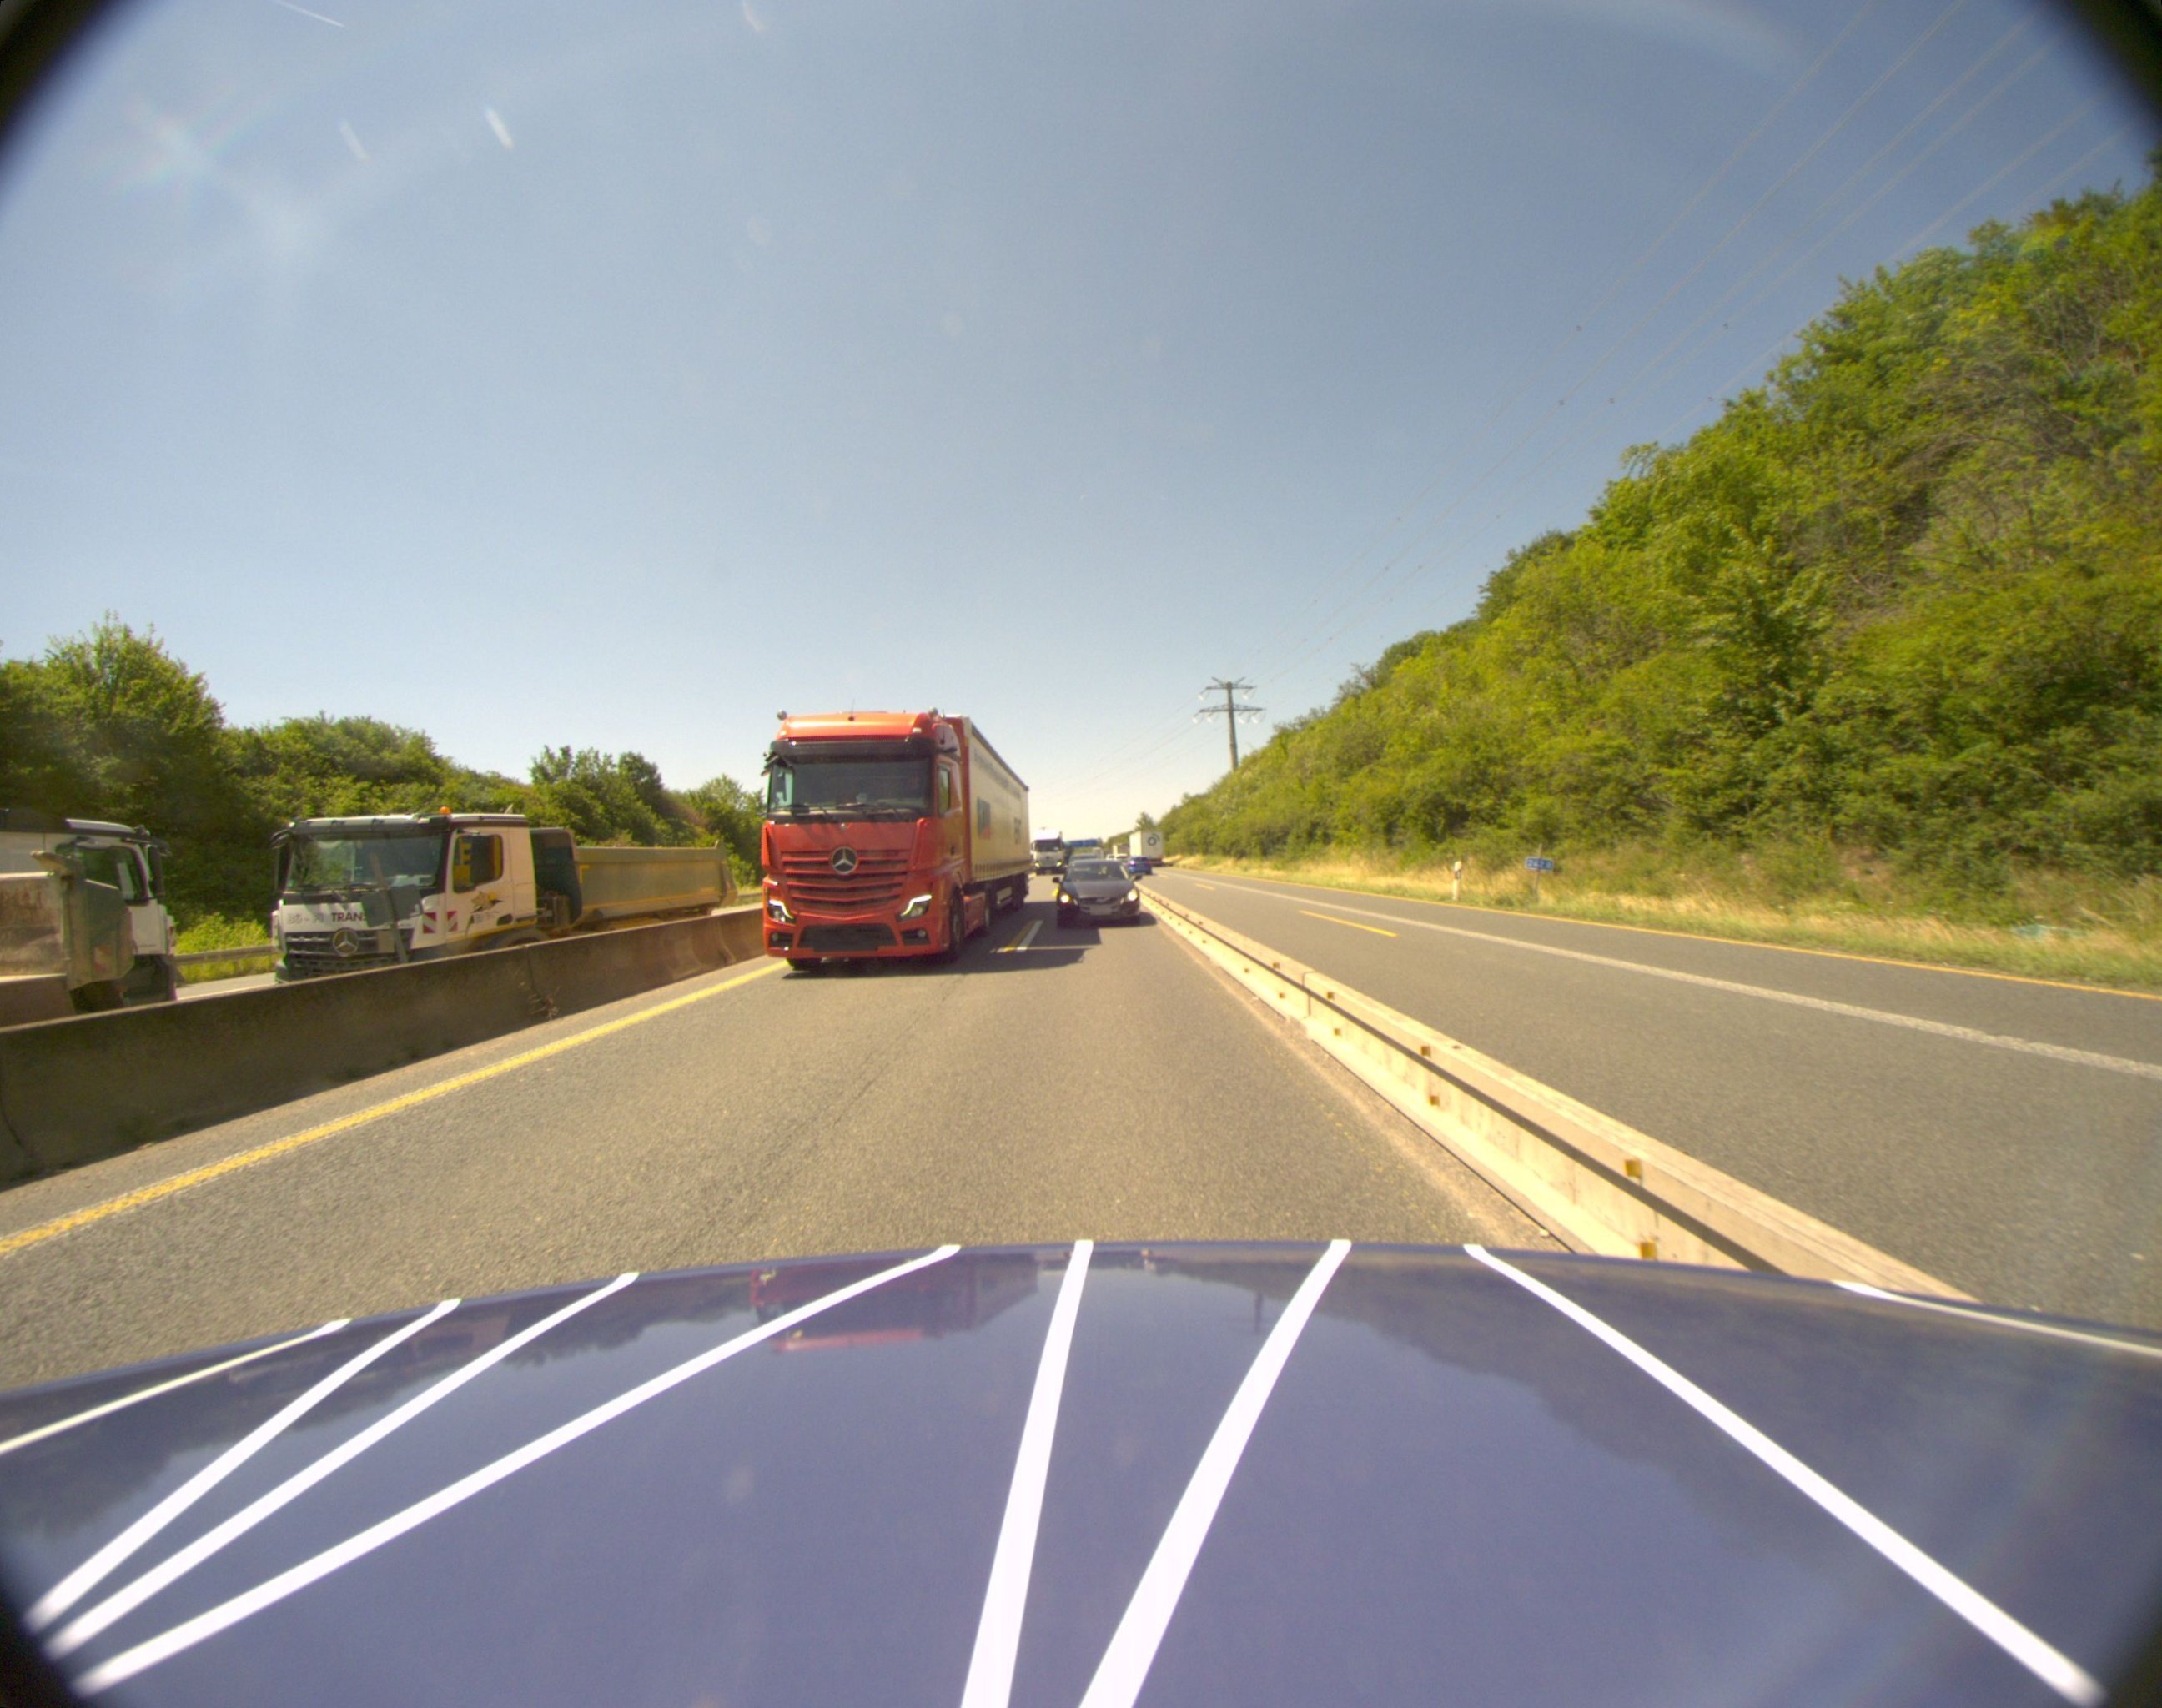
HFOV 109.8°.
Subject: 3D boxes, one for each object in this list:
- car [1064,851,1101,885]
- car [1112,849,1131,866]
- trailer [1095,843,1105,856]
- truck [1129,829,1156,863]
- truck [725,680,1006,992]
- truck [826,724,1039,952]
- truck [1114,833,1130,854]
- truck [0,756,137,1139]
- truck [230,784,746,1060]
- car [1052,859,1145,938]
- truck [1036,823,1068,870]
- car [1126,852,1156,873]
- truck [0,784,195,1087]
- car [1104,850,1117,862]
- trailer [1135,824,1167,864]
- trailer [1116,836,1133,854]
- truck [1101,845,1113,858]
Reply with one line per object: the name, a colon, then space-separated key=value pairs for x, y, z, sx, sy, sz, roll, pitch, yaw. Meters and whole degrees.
car: x=0.095 y=0.669 z=39.475 sx=1.767 sy=1.523 sz=4.698 roll=-3 pitch=1 yaw=1
car: x=4.402 y=0.364 z=82.529 sx=1.767 sy=1.622 sz=4.296 roll=-3 pitch=1 yaw=0
trailer: x=6.268 y=-1.442 z=252.267 sx=2.899 sy=4.101 sz=13.244 roll=-5 pitch=0 yaw=1
truck: x=7.712 y=-0.952 z=96.261 sx=2.416 sy=3.969 sz=10.351 roll=-3 pitch=0 yaw=0
truck: x=-3.166 y=-0.258 z=13.359 sx=2.689 sy=3.987 sz=6.725 roll=-3 pitch=1 yaw=1
truck: x=-3.044 y=-0.362 z=20.284 sx=2.689 sy=3.987 sz=13.217 roll=-3 pitch=1 yaw=1
truck: x=8.525 y=-2.114 z=157.735 sx=2.656 sy=3.969 sz=9.650 roll=-4 pitch=0 yaw=1
truck: x=-11.151 y=0.910 z=3.396 sx=2.539 sy=3.490 sz=8.943 roll=-3 pitch=0 yaw=0
truck: x=-9.729 y=0.871 z=14.457 sx=2.539 sy=3.490 sz=9.095 roll=-3 pitch=0 yaw=0
car: x=0.384 y=0.896 z=17.357 sx=1.767 sy=1.411 sz=4.698 roll=-3 pitch=1 yaw=1
truck: x=-2.665 y=-0.690 z=73.482 sx=2.481 sy=4.030 sz=13.109 roll=-3 pitch=0 yaw=-1
car: x=4.356 y=0.604 z=55.673 sx=1.717 sy=1.417 sz=4.169 roll=-3 pitch=1 yaw=-1
truck: x=-13.825 y=1.003 z=6.414 sx=2.694 sy=3.490 sz=8.379 roll=-3 pitch=0 yaw=0
car: x=4.504 y=0.292 z=117.270 sx=1.829 sy=1.621 sz=4.150 roll=-2 pitch=1 yaw=0
trailer: x=7.920 y=-1.092 z=86.855 sx=2.644 sy=4.287 sz=8.447 roll=-3 pitch=0 yaw=0
trailer: x=8.420 y=-1.714 z=148.468 sx=2.657 sy=3.317 sz=8.918 roll=-4 pitch=0 yaw=1
truck: x=7.462 y=-0.859 z=217.197 sx=2.412 sy=3.312 sz=7.494 roll=-3 pitch=2 yaw=-4
